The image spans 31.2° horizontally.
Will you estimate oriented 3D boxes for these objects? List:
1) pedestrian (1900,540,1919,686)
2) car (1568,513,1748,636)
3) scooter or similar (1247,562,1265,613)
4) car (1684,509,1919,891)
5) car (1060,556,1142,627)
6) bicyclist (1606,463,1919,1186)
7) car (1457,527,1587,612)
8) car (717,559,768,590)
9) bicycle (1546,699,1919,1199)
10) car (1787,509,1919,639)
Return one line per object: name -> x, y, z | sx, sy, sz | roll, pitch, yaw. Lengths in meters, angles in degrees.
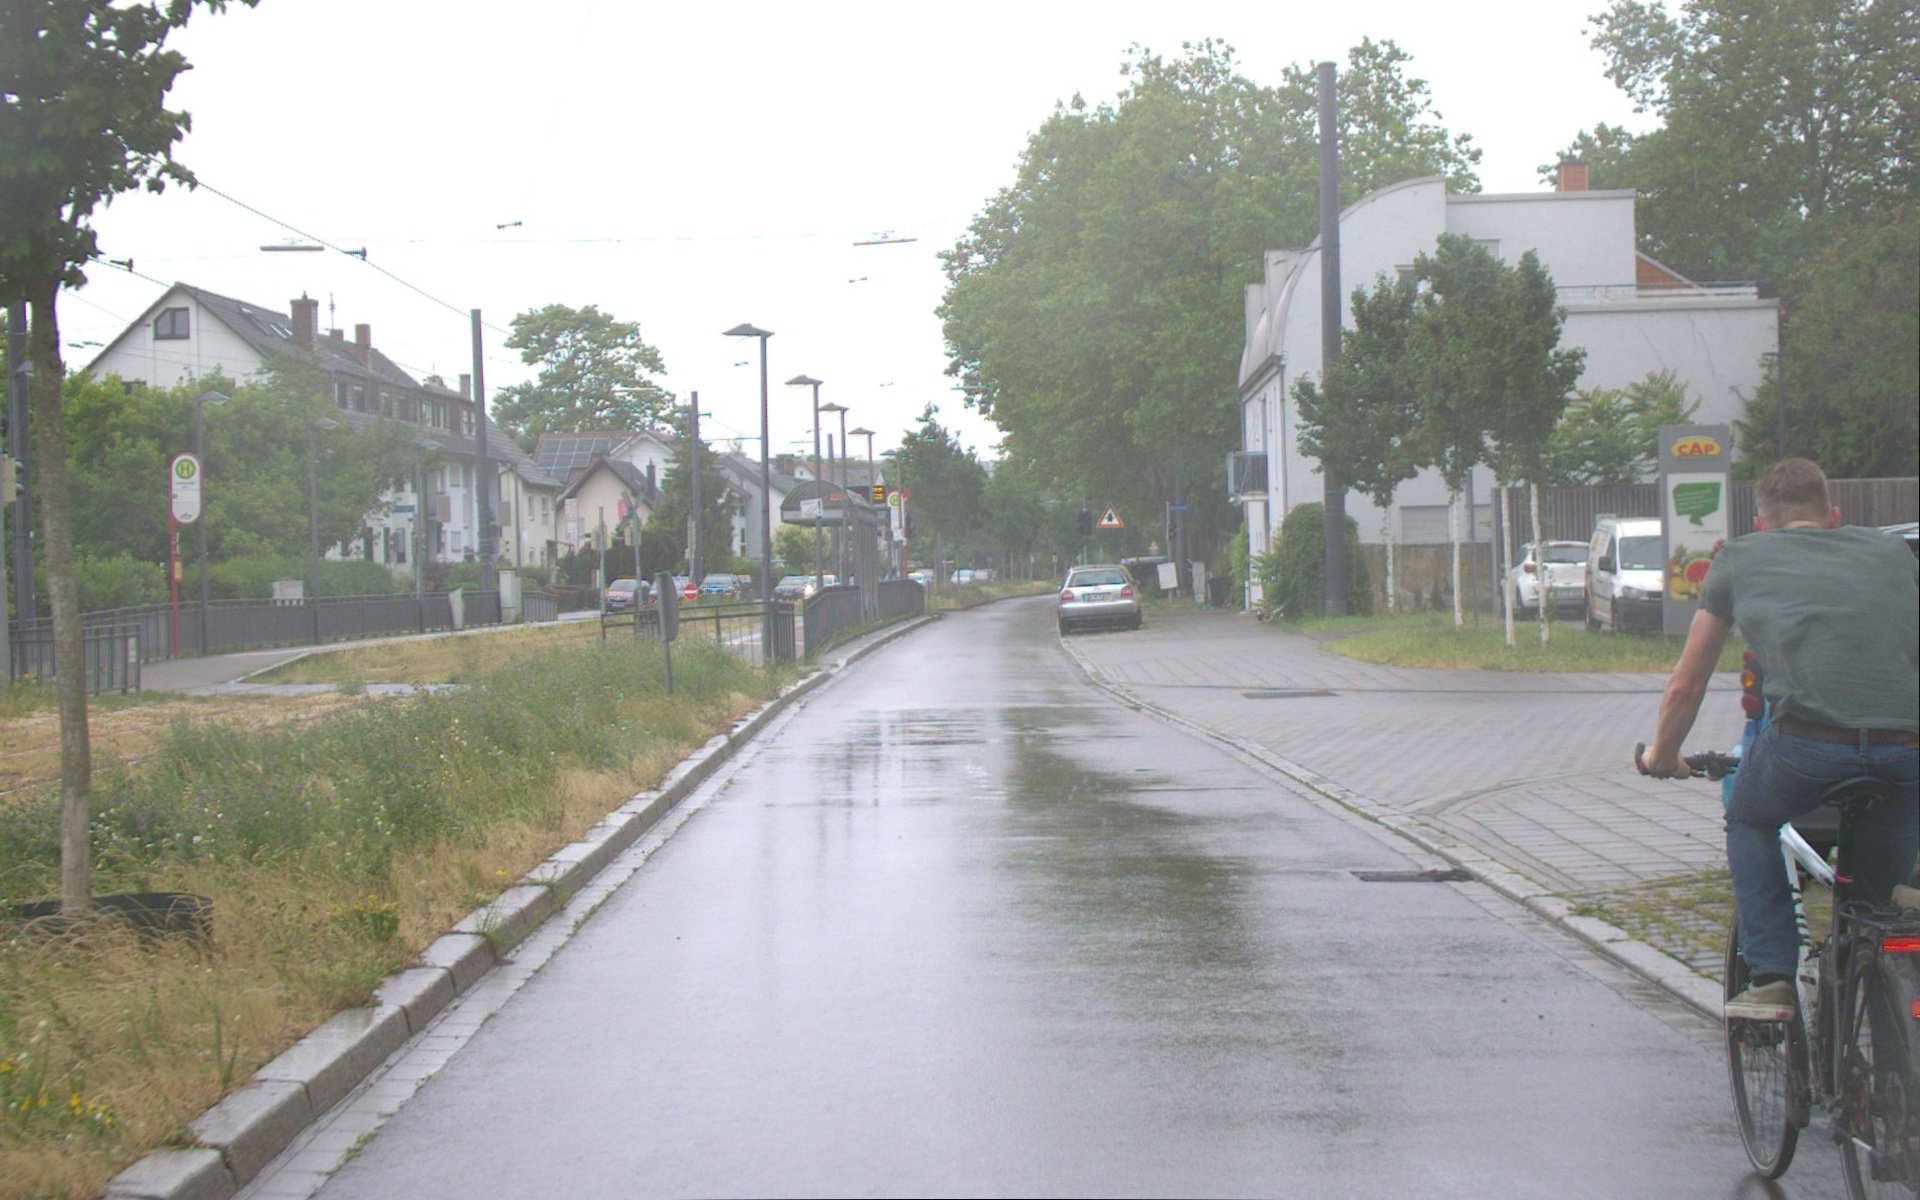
pedestrian -> 10.434, 0.130, 35.543 | 0.835, 1.512, 1.095 | 0, 0, -29
car -> 10.564, -0.426, 52.350 | 1.963, 1.778, 4.897 | 0, 1, 3
scooter or similar -> 6.395, -0.261, 74.303 | 0.333, 1.081, 1.395 | 0, 0, 7
car -> 4.620, 0.375, 14.949 | 2.558, 1.542, 1.602 | -2, 0, -40
car -> 3.083, -0.176, 75.735 | 1.650, 1.400, 4.649 | -4, 0, 2
bicyclist -> 1.852, 0.483, 7.817 | 0.534, 1.554, 0.772 | 0, 0, -7
car -> 10.603, -0.607, 65.109 | 1.963, 1.529, 4.363 | 0, 1, 3
car -> -10.624, -1.236, 168.392 | 1.929, 1.481, 3.999 | 0, 0, 5
bicycle -> 1.862, 0.798, 7.816 | 0.536, 1.089, 1.949 | 0, 0, -6
car -> 11.406, -0.292, 38.577 | 1.993, 1.436, 4.000 | 0, 0, -28
